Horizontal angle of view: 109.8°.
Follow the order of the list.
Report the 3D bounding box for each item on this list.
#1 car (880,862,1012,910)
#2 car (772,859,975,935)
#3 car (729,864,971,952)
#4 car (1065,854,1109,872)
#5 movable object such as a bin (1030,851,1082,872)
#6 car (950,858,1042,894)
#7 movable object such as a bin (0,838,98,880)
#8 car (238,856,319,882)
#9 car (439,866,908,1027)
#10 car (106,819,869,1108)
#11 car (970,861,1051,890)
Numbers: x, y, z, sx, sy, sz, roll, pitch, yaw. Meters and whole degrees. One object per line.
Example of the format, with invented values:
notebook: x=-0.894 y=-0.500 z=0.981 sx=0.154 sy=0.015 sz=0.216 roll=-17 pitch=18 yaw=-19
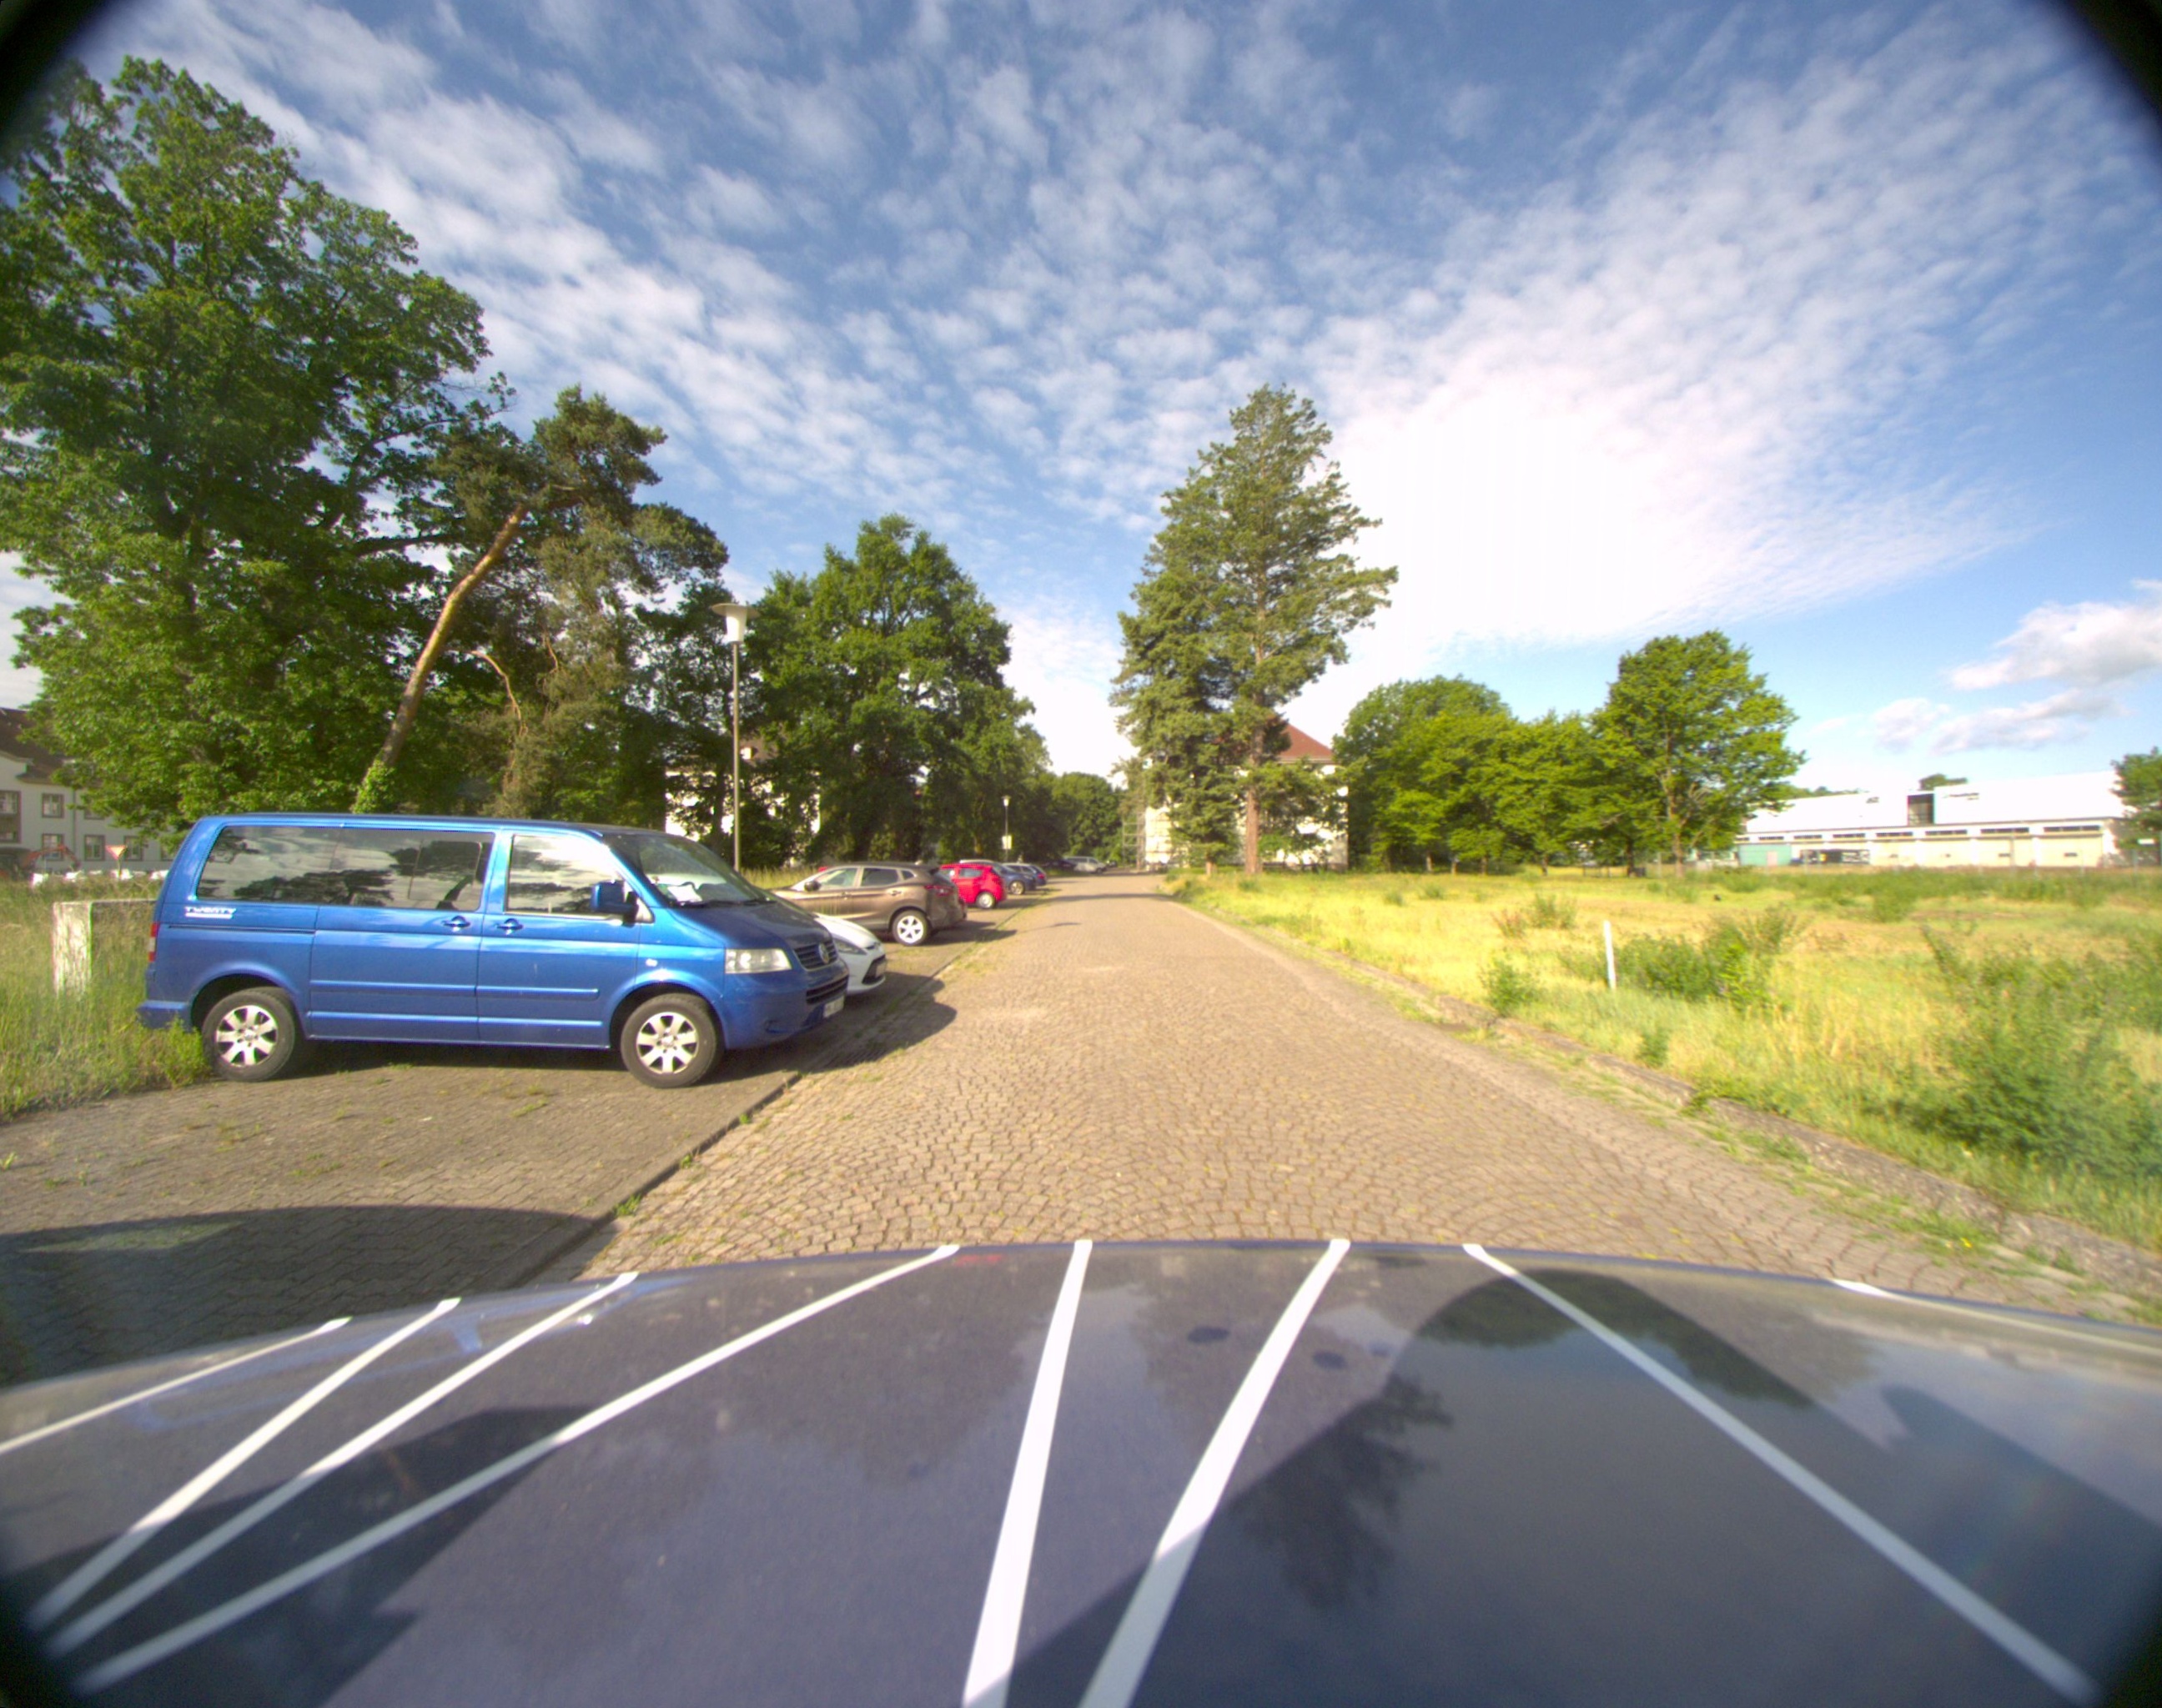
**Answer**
car: x=-4.442 y=1.043 z=25.494 sx=4.097 sy=1.451 sz=1.853 roll=1 pitch=0 yaw=-1
car: x=-4.728 y=0.963 z=17.804 sx=4.237 sy=1.588 sz=1.934 roll=1 pitch=1 yaw=-2
car: x=-4.419 y=1.010 z=15.094 sx=4.237 sy=1.588 sz=1.934 roll=0 pitch=1 yaw=-2
car: x=0.648 y=1.030 z=89.127 sx=4.933 sy=2.002 sz=1.999 roll=1 pitch=1 yaw=-5
movable object such as a bin: x=-2.504 y=0.717 z=76.214 sx=4.865 sy=2.002 sz=2.002 roll=-1 pitch=0 yaw=14
car: x=-3.924 y=1.019 z=35.716 sx=4.097 sy=1.548 sz=1.853 roll=1 pitch=0 yaw=-1
movable object such as a bin: x=-88.249 y=0.456 z=63.793 sx=6.460 sy=3.282 sz=2.859 roll=-3 pitch=1 yaw=-42
car: x=-67.128 y=1.237 z=63.646 sx=1.906 sy=1.928 sz=4.395 roll=-3 pitch=1 yaw=2
car: x=-4.467 y=0.974 z=8.868 sx=4.408 sy=1.568 sz=1.939 roll=1 pitch=0 yaw=1
car: x=-4.392 y=0.756 z=6.247 sx=4.710 sy=1.924 sz=2.000 roll=1 pitch=0 yaw=1
car: x=-3.707 y=1.110 z=40.361 sx=4.097 sy=1.414 sz=1.785 roll=1 pitch=0 yaw=-1
